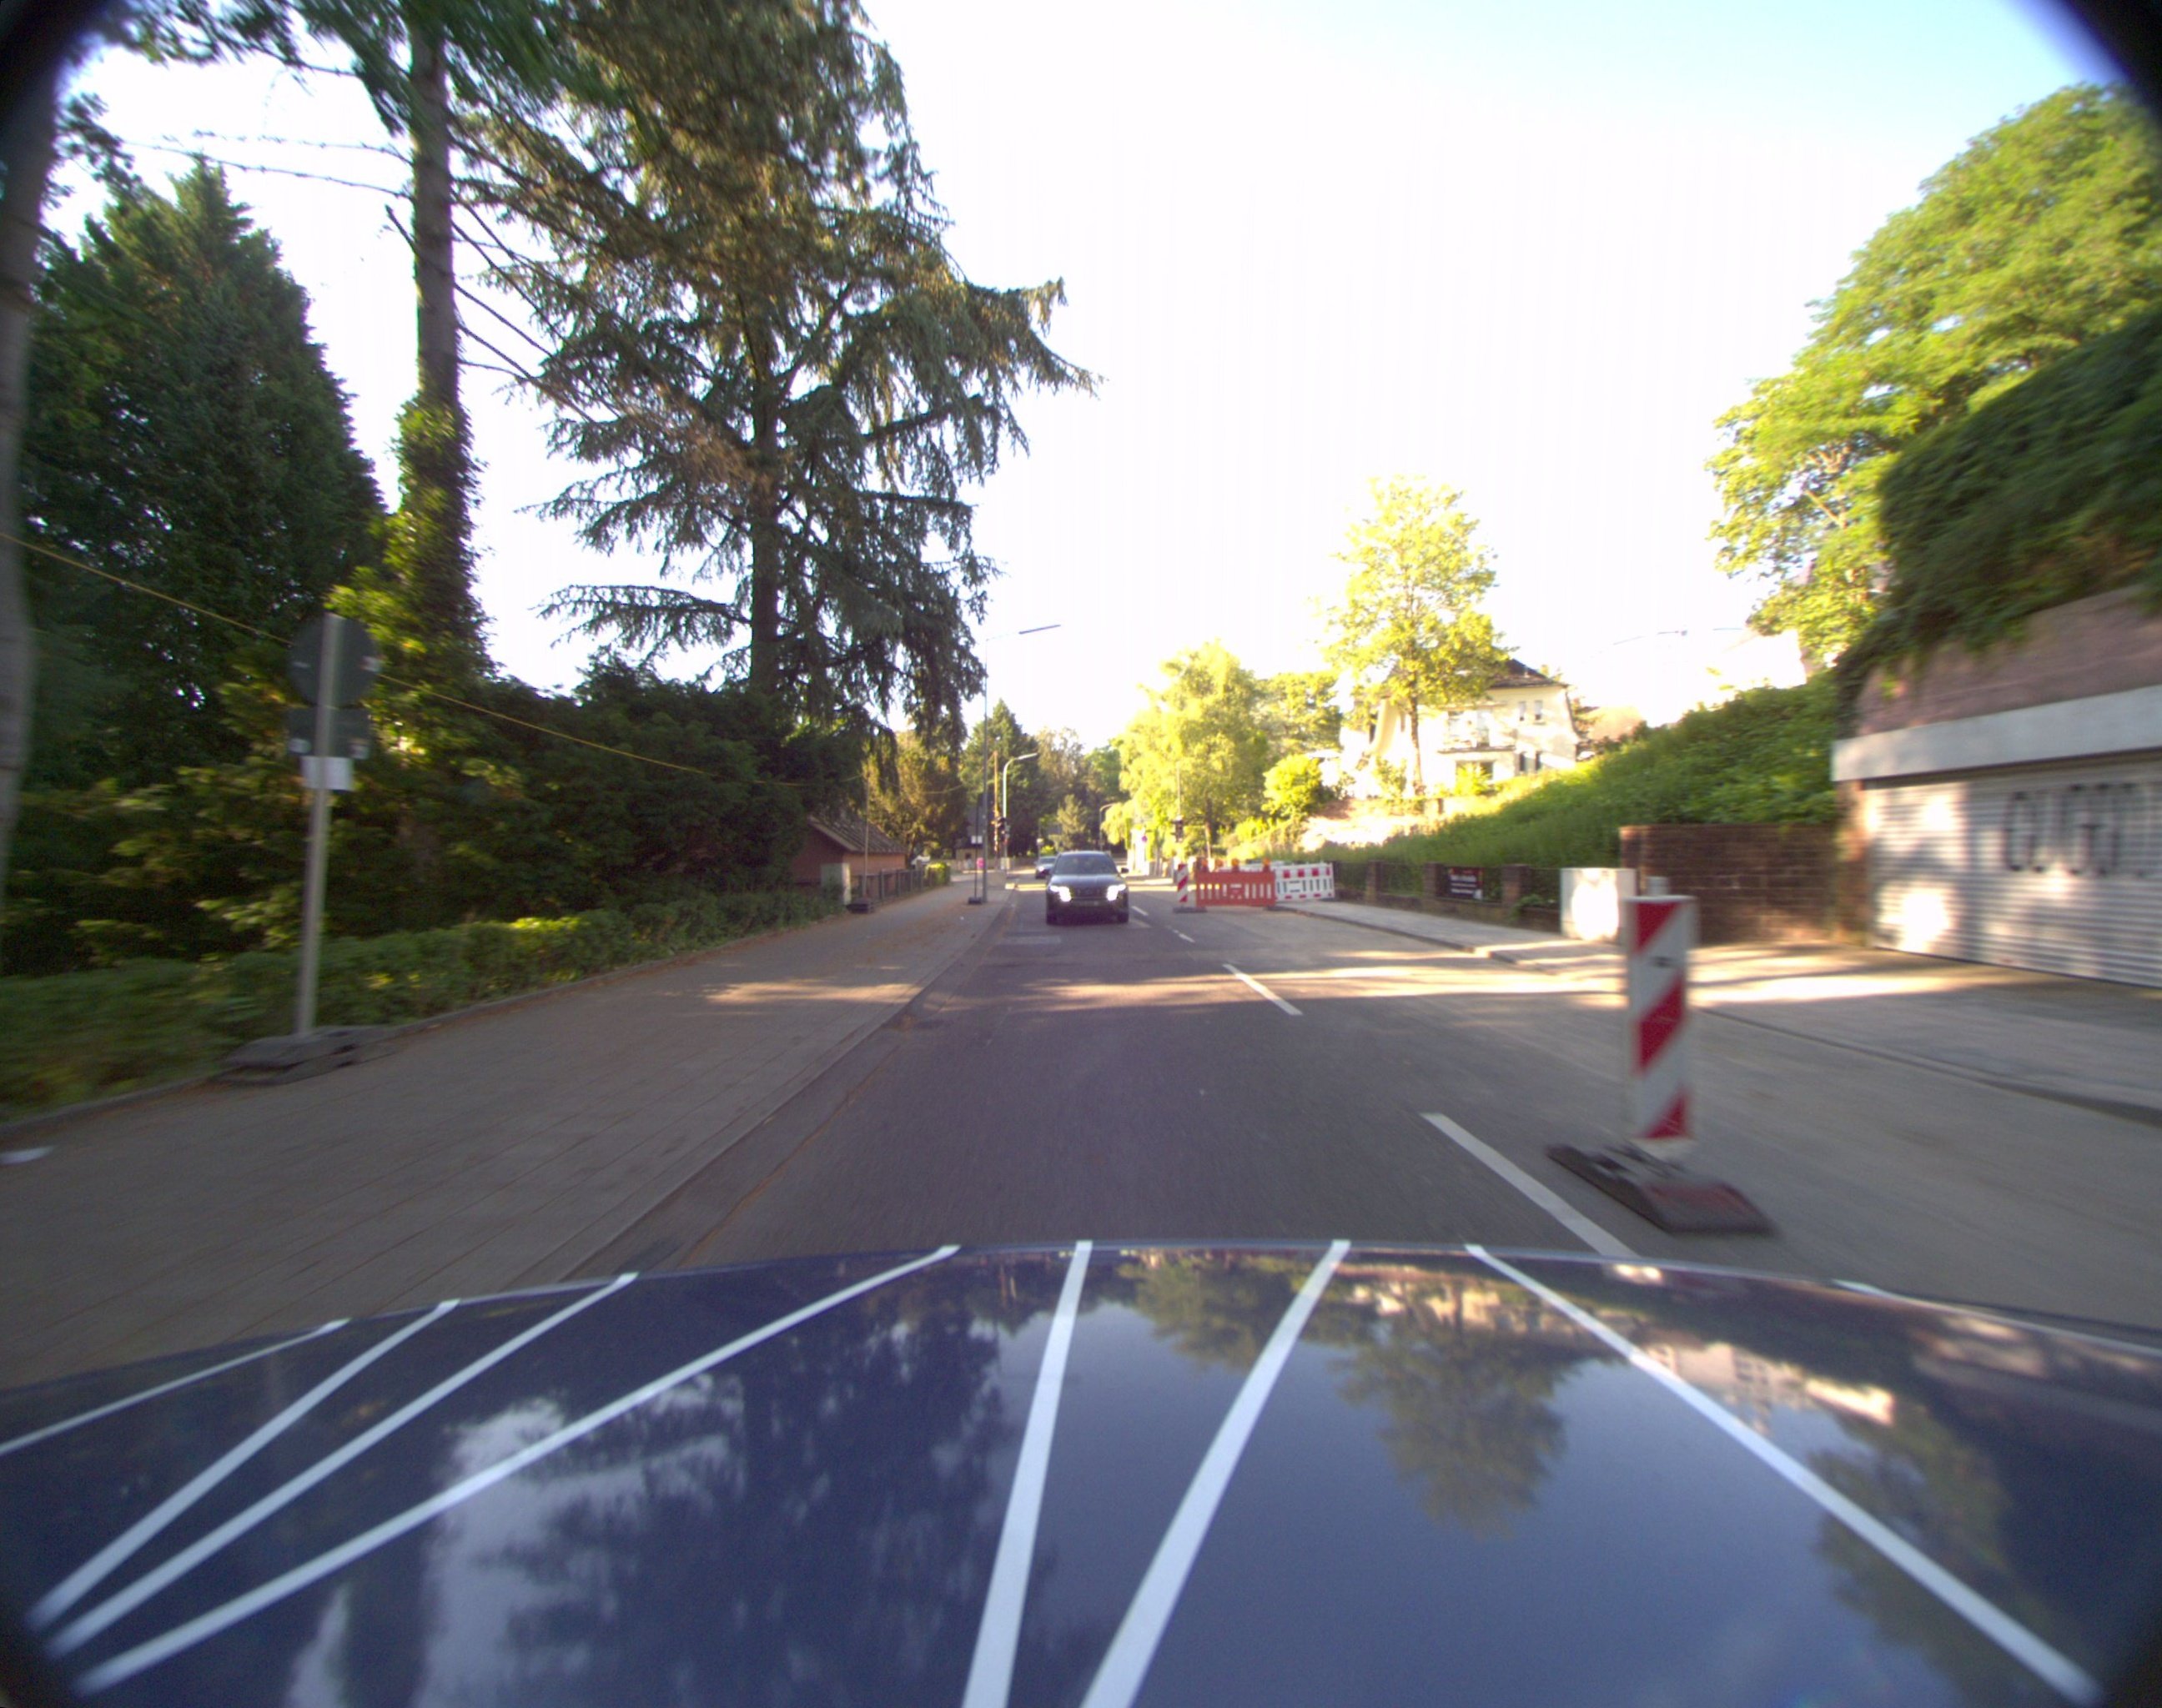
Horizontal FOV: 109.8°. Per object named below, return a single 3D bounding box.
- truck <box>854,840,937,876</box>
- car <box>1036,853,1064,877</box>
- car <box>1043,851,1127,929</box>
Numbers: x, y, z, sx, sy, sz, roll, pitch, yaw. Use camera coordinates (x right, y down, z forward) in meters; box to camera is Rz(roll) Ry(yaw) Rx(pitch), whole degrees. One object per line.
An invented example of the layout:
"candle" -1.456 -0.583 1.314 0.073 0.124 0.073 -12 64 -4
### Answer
"truck" -15.892 0.372 65.047 6.498 2.736 2.373 -3 1 18
"car" -2.069 0.707 50.578 1.663 1.468 3.681 -2 1 -5
"car" 0.020 0.776 18.591 1.788 1.639 4.473 -1 0 -2
